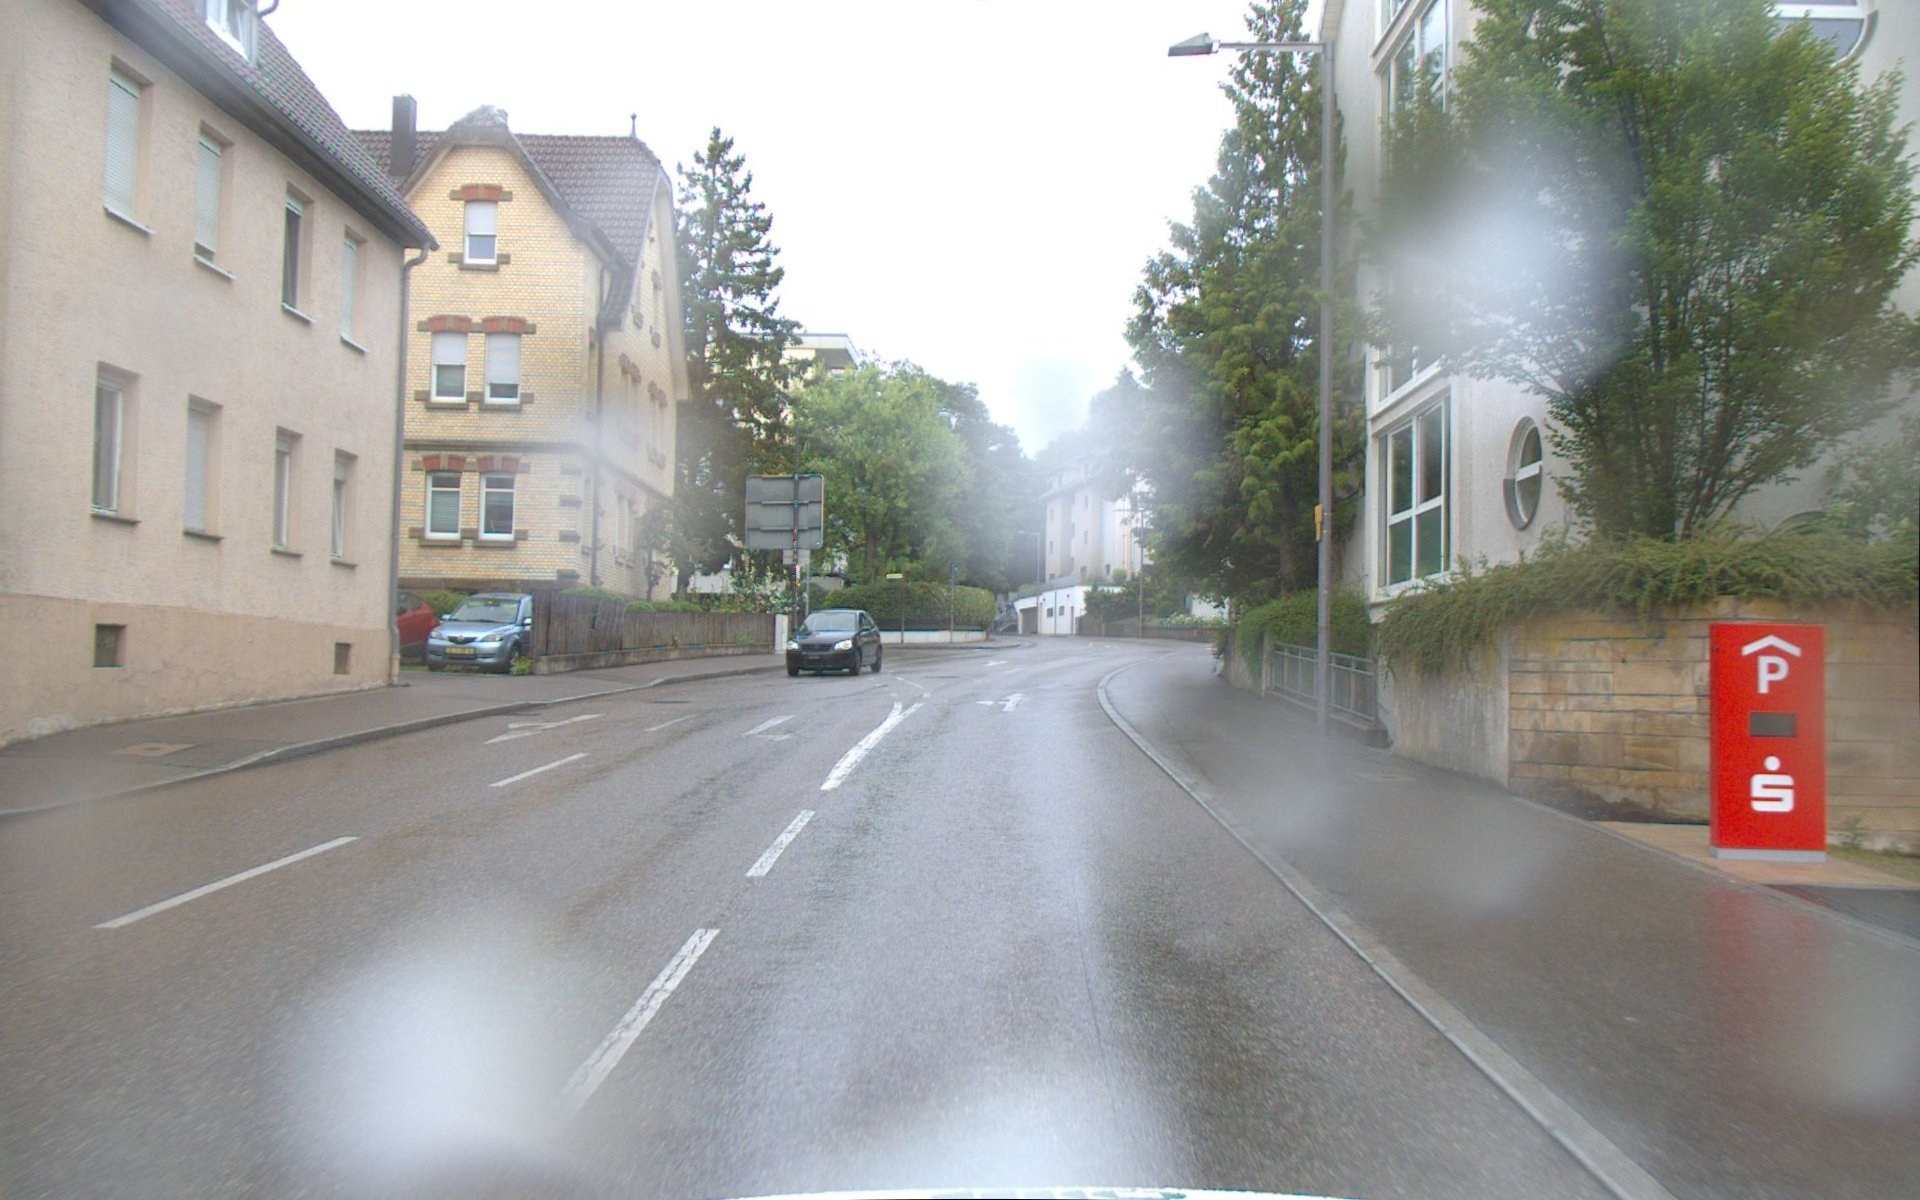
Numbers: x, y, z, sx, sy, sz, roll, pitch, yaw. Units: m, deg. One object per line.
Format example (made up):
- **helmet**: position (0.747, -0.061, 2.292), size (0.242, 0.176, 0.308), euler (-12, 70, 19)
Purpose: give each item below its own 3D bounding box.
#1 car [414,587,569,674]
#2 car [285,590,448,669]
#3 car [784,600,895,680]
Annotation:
- **car**: position (-9.054, 0.554, 32.292), size (1.734, 1.529, 3.884), euler (2, 0, 2)
- **car**: position (-11.672, 0.545, 32.777), size (1.734, 1.391, 3.883), euler (2, 0, 1)
- **car**: position (-2.685, 0.884, 37.683), size (1.708, 1.599, 3.816), euler (4, 0, 7)
